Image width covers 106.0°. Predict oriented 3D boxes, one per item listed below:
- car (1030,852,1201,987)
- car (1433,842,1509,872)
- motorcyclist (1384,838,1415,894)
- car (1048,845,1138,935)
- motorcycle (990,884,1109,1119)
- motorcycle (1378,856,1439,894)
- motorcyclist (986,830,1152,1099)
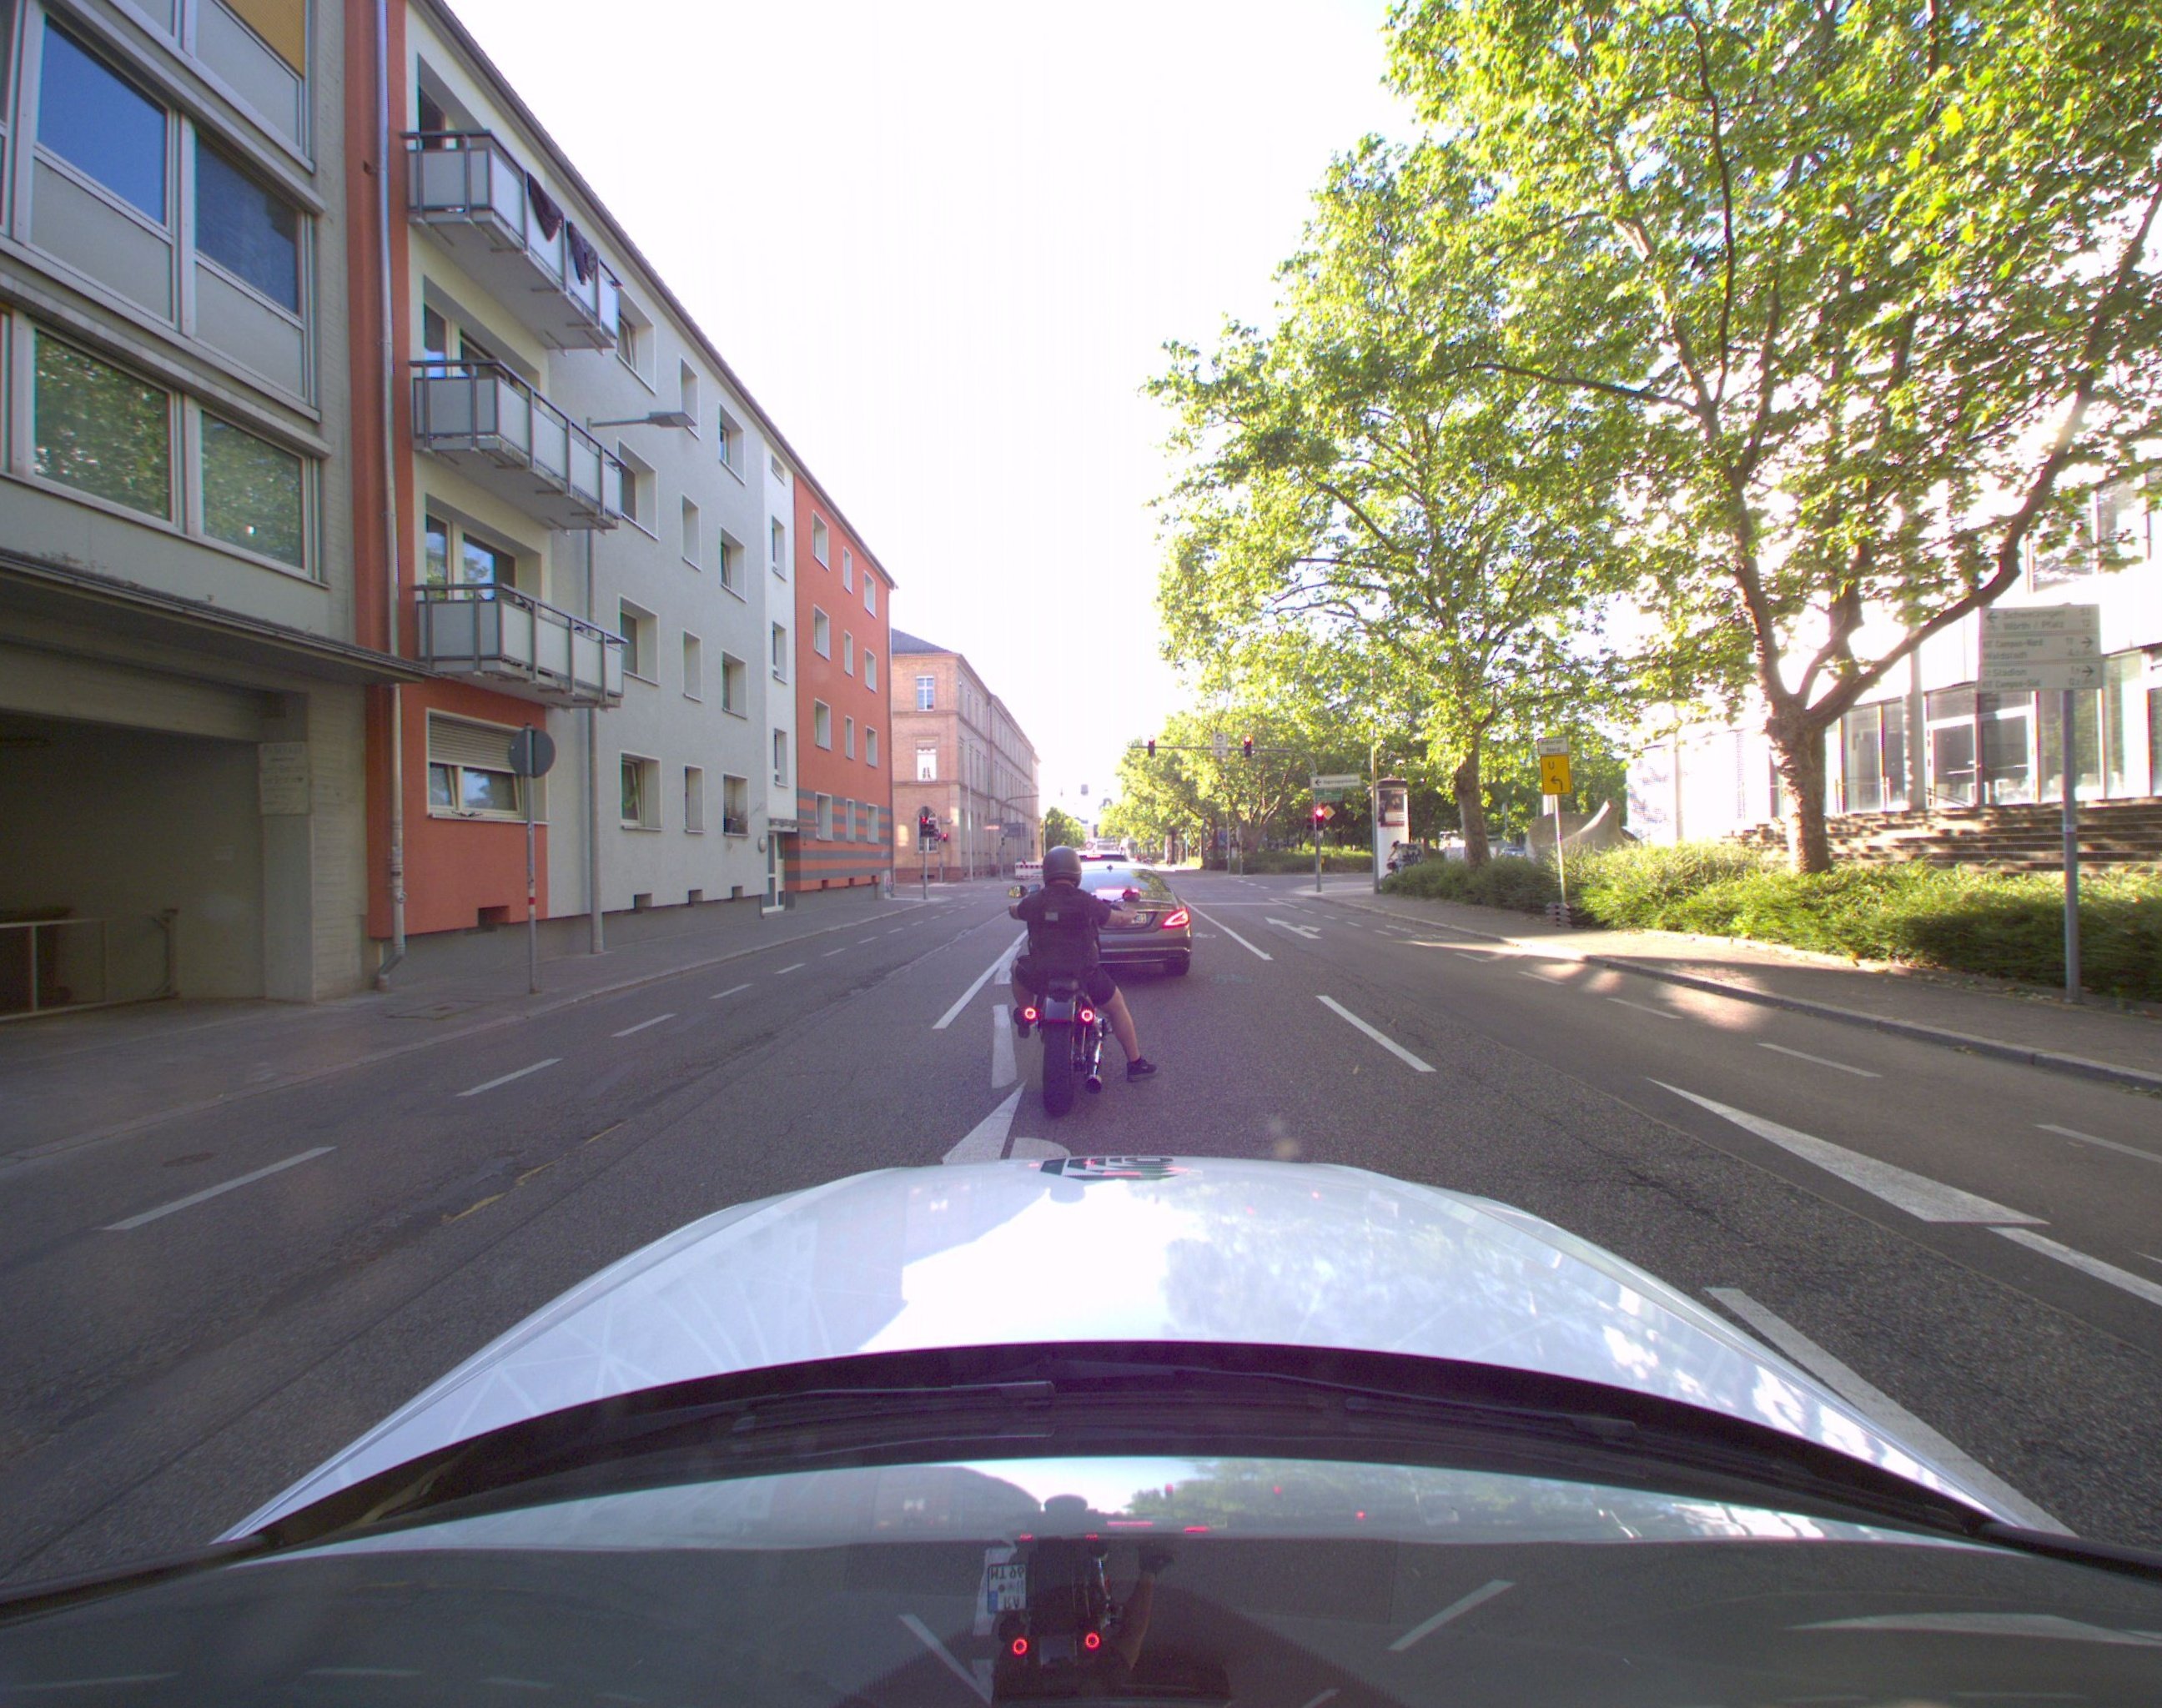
[{"bbox_3d":[0.261,0.744,11.252,1.821,1.486,4.325,0,0,-5],"label":"car"},{"bbox_3d":[24.632,0.203,51.530,3.974,1.772,1.738,-1,0,-1],"label":"car"},{"bbox_3d":[10.768,0.391,27.576,0.818,1.863,0.673,0,-1,7],"label":"motorcyclist"},{"bbox_3d":[0.286,0.688,17.103,1.645,1.652,4.002,0,-1,2],"label":"car"},{"bbox_3d":[-0.142,0.856,5.550,0.657,1.240,2.058,0,-1,2],"label":"motorcycle"},{"bbox_3d":[11.072,0.710,27.552,1.771,1.243,0.724,0,-1,7],"label":"motorcycle"},{"bbox_3d":[-0.054,0.670,5.457,0.986,1.611,1.121,0,-1,1],"label":"motorcyclist"}]
